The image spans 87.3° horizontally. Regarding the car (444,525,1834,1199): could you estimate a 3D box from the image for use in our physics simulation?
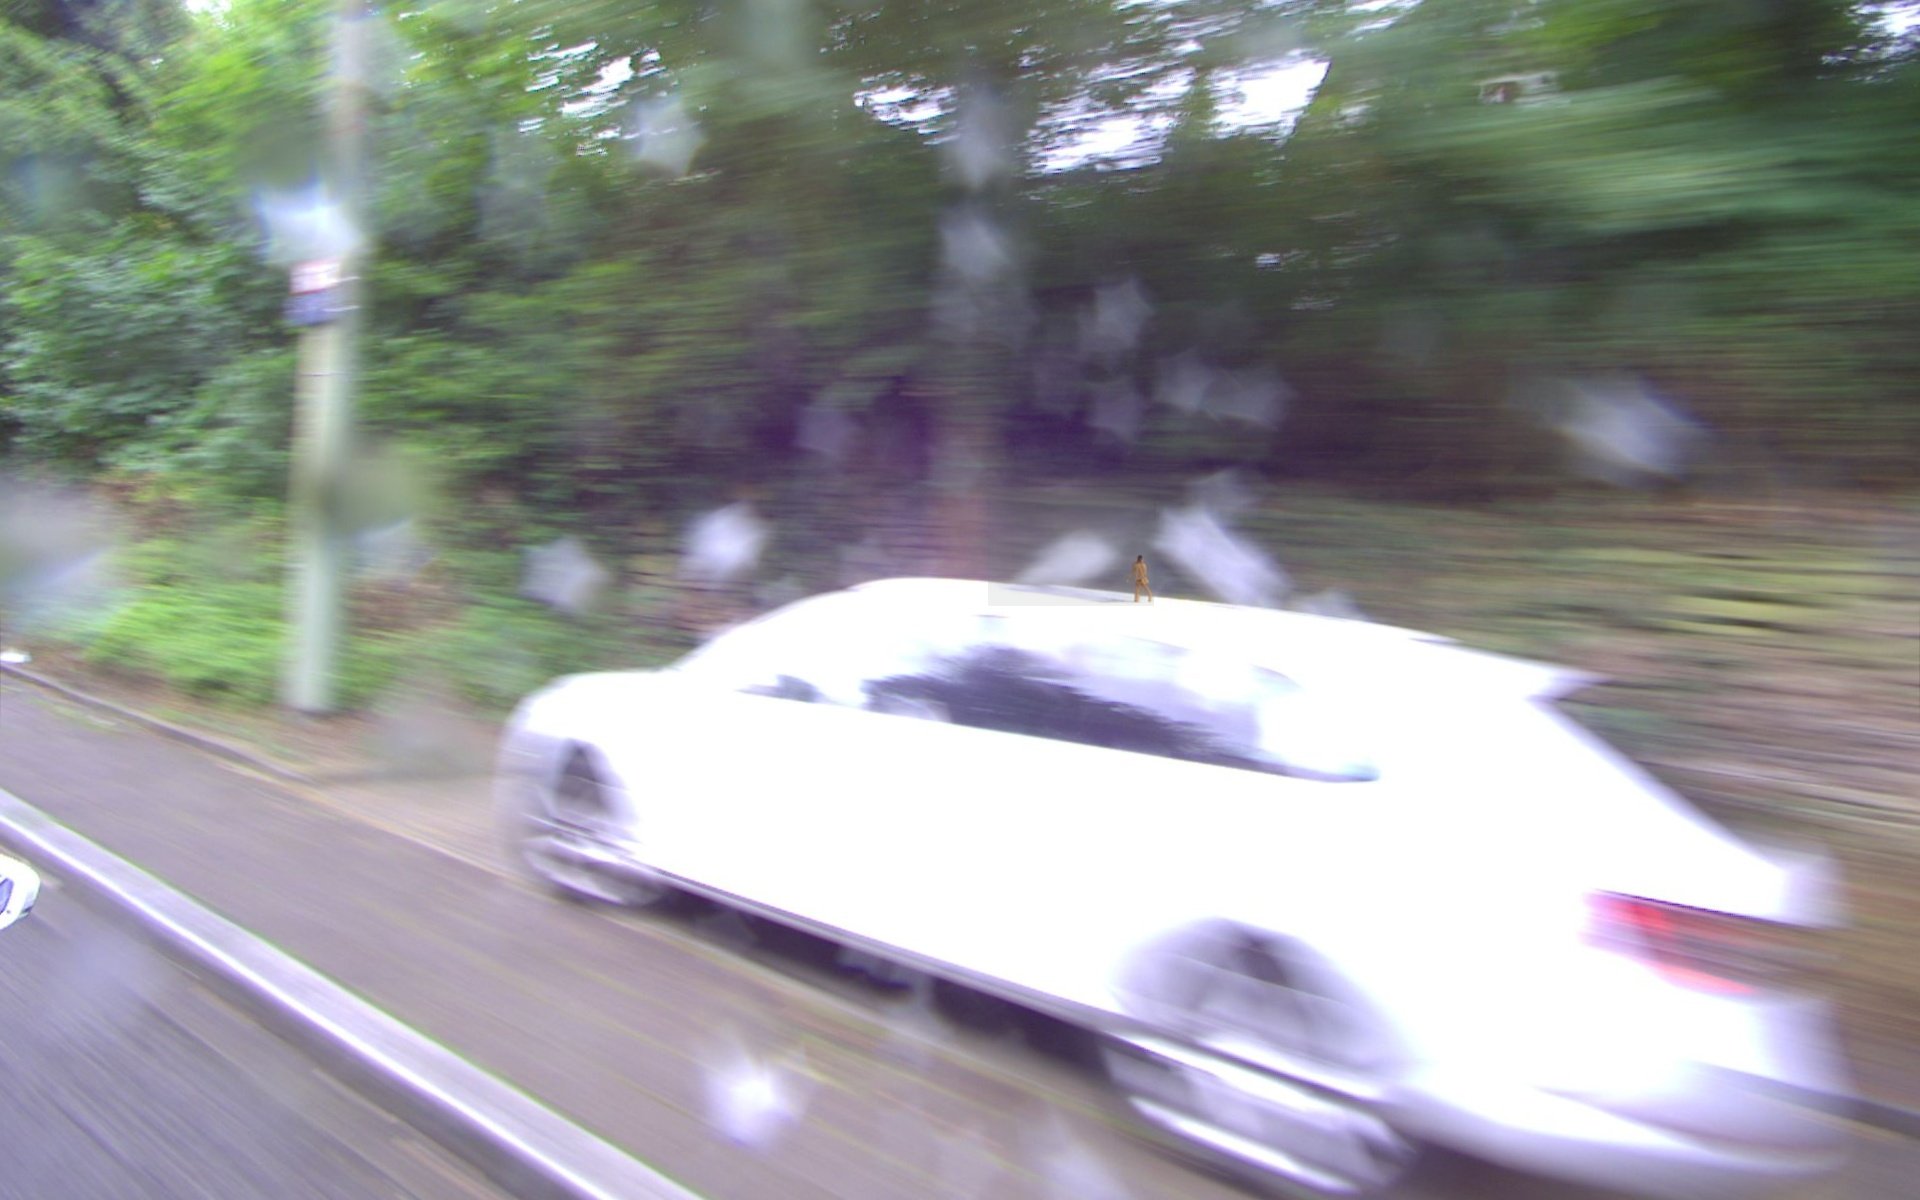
[{"bbox_3d":[0.145,0.662,3.990,4.662,1.497,1.739,6,2,33],"label":"car"}]
